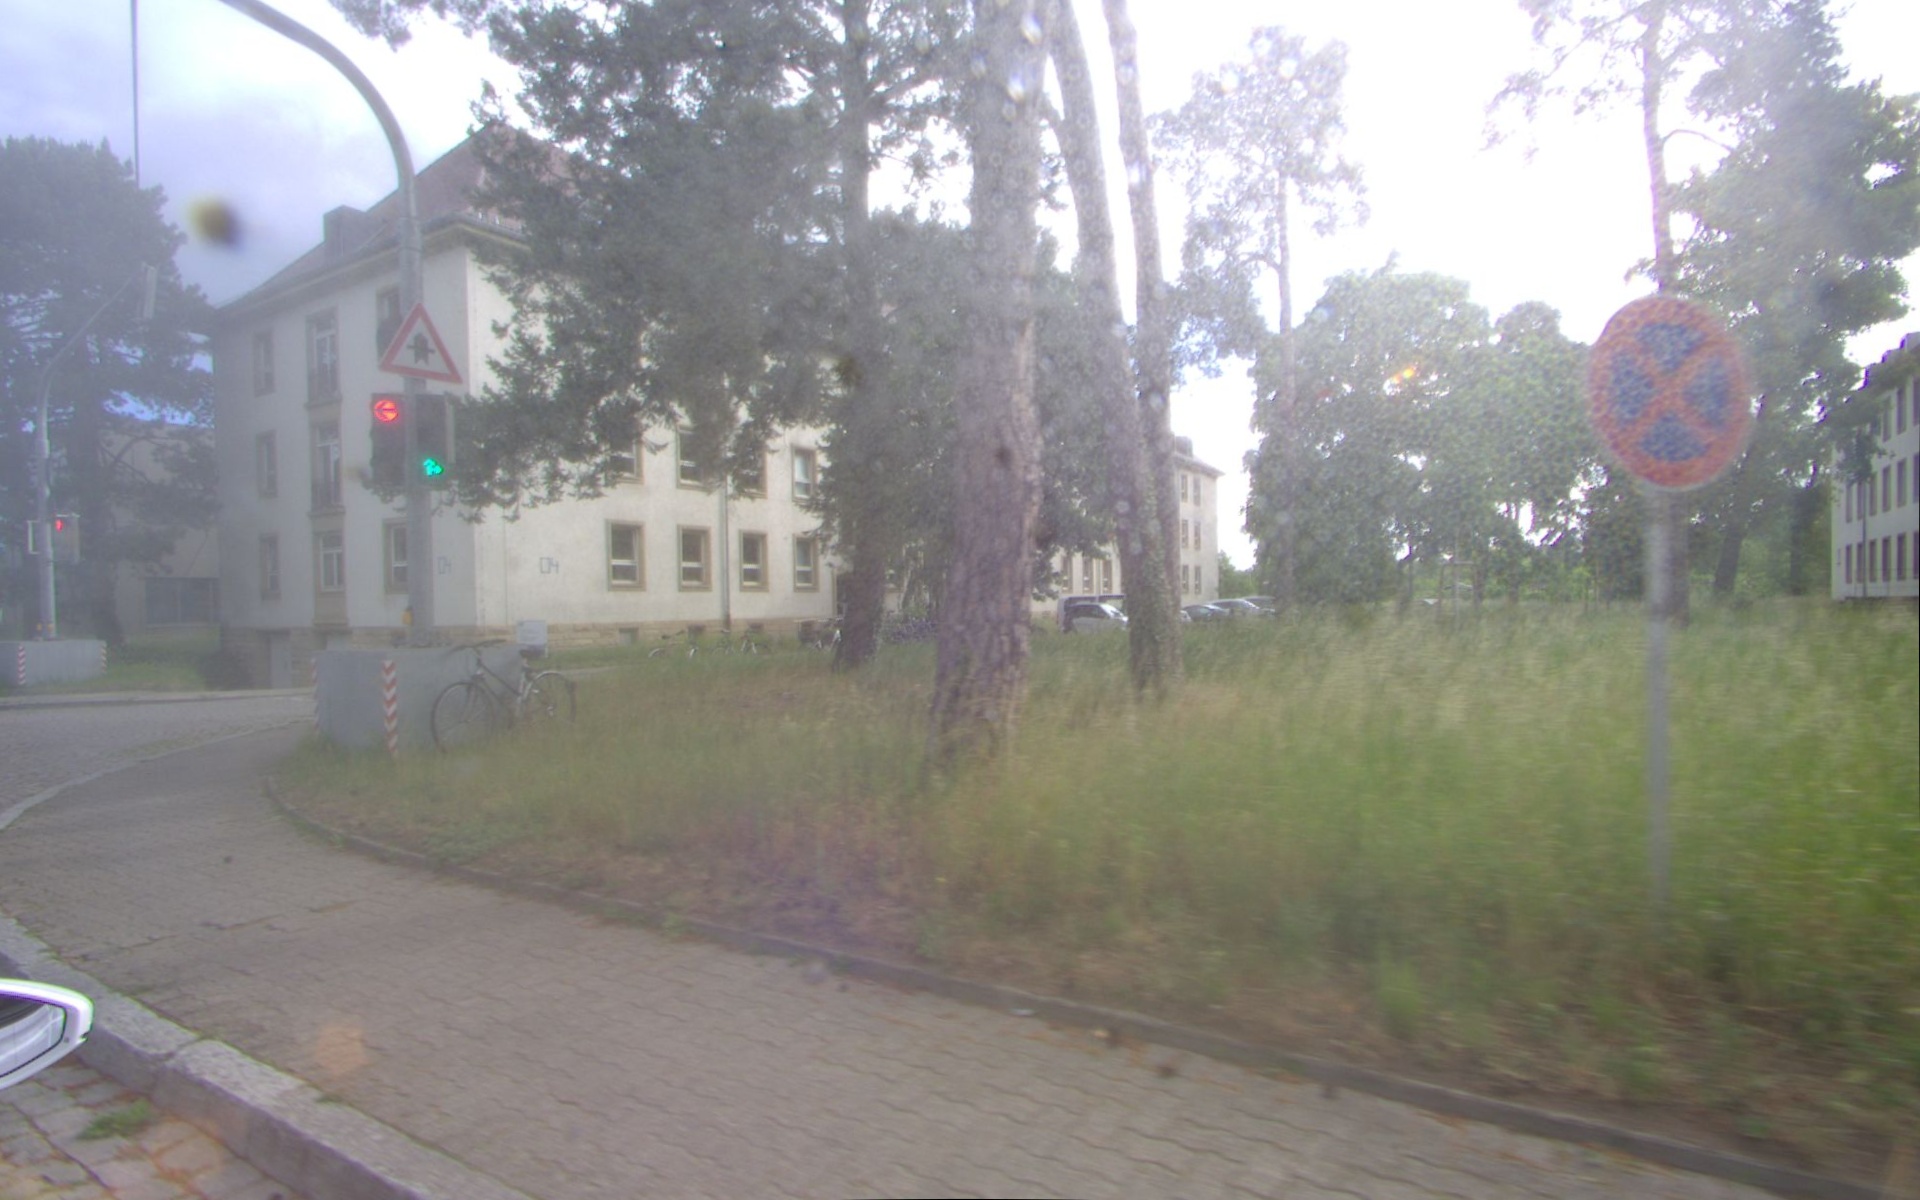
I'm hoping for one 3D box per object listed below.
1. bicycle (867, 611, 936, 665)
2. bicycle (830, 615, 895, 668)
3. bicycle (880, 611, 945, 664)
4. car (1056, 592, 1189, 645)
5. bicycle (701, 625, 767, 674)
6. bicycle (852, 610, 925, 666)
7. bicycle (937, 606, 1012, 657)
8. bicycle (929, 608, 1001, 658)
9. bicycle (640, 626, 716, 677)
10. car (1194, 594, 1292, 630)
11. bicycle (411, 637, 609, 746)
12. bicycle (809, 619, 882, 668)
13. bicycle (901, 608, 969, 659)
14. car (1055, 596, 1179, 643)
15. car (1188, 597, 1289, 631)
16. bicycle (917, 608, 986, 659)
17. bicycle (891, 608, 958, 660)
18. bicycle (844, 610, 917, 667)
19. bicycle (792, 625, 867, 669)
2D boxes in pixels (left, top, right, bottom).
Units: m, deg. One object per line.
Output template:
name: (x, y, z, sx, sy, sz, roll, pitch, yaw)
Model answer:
bicycle: (-1.509, 0.947, 25.535, 1.896, 1.337, 0.504, -1, 0, 38)
bicycle: (-2.351, 0.977, 24.103, 1.618, 1.231, 0.539, -1, 0, 38)
bicycle: (-1.245, 0.953, 25.899, 1.894, 1.337, 0.390, -1, 0, 38)
car: (6.270, 0.716, 38.519, 4.775, 1.935, 2.236, -1, 0, 18)
bicycle: (-5.070, 1.099, 22.565, 0.535, 1.028, 1.533, 0, 0, 31)
bicycle: (-1.806, 0.936, 25.026, 1.951, 1.337, 0.574, -1, 0, 38)
bicycle: (0.394, 0.881, 28.384, 2.076, 1.385, 0.754, -1, 0, 38)
bicycle: (0.114, 0.912, 27.720, 2.105, 1.337, 0.552, -1, 0, 38)
bicycle: (-5.892, 1.058, 21.009, 0.522, 0.993, 1.617, 0, 0, 31)
car: (15.014, 0.653, 53.125, 4.630, 1.796, 1.989, -1, 0, 34)
bicycle: (-4.260, 0.829, 9.595, 0.565, 0.886, 1.696, 0, 0, 33)
bicycle: (-2.720, 1.012, 23.654, 1.878, 1.116, 0.539, -1, 0, 38)
bicycle: (-0.696, 0.894, 26.899, 1.914, 1.337, 0.551, -1, 0, 38)
car: (5.456, 0.676, 35.013, 3.878, 1.550, 1.851, -1, 0, 35)
car: (13.908, 0.710, 50.042, 4.454, 1.639, 1.989, -1, 0, 34)
bicycle: (-0.245, 0.904, 27.277, 1.990, 1.337, 0.538, -1, 0, 38)
bicycle: (-0.937, 0.884, 26.330, 1.829, 1.337, 0.553, -1, 0, 38)
bicycle: (-1.950, 0.922, 24.442, 2.022, 1.337, 0.435, -1, 0, 38)
bicycle: (-3.026, 1.070, 23.076, 1.878, 0.962, 0.539, -1, 0, 38)
